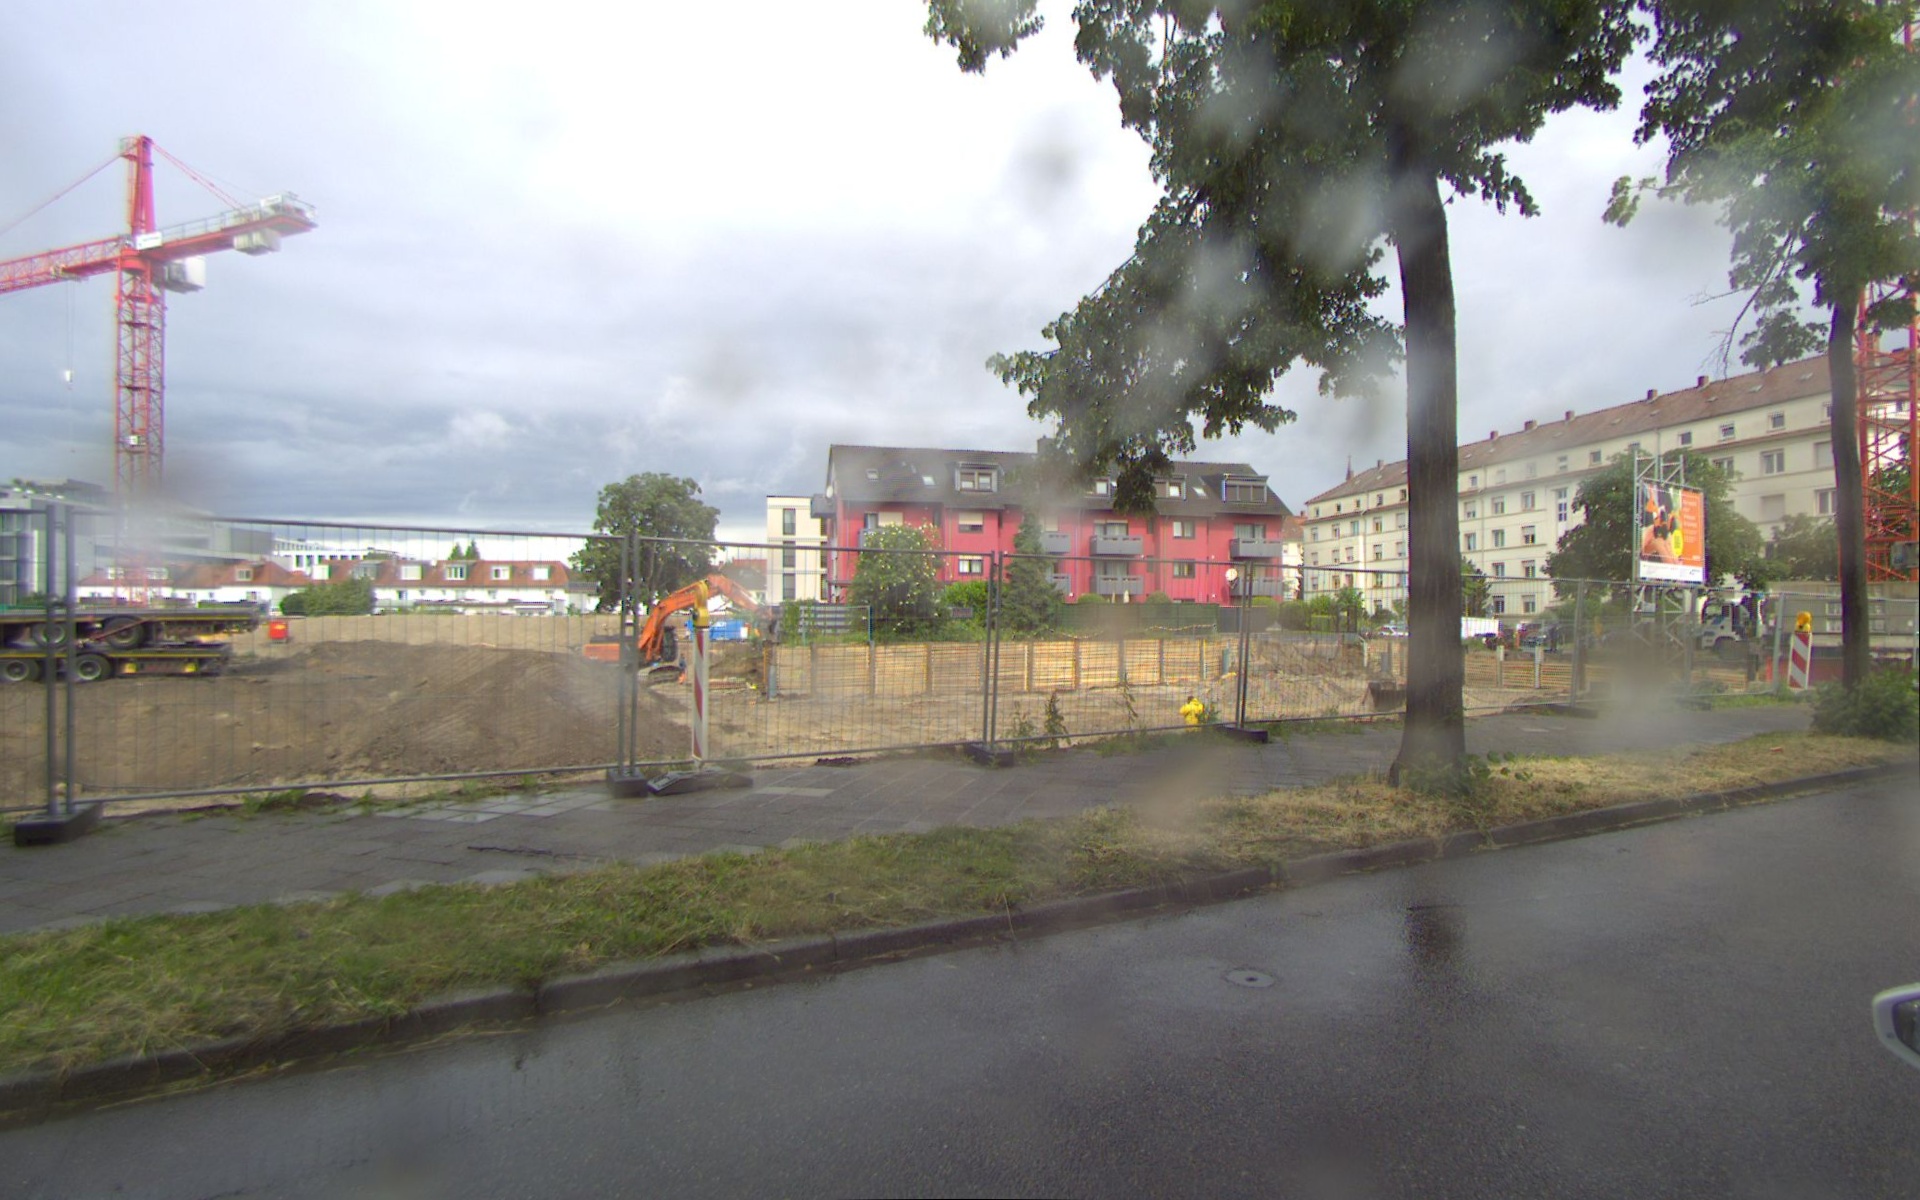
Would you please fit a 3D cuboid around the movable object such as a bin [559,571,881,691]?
[{"bbox_3d":[-12.688,1.599,55.742,16.430,6.125,6.885,0,0,-6],"label":"movable object such as a bin"}]
